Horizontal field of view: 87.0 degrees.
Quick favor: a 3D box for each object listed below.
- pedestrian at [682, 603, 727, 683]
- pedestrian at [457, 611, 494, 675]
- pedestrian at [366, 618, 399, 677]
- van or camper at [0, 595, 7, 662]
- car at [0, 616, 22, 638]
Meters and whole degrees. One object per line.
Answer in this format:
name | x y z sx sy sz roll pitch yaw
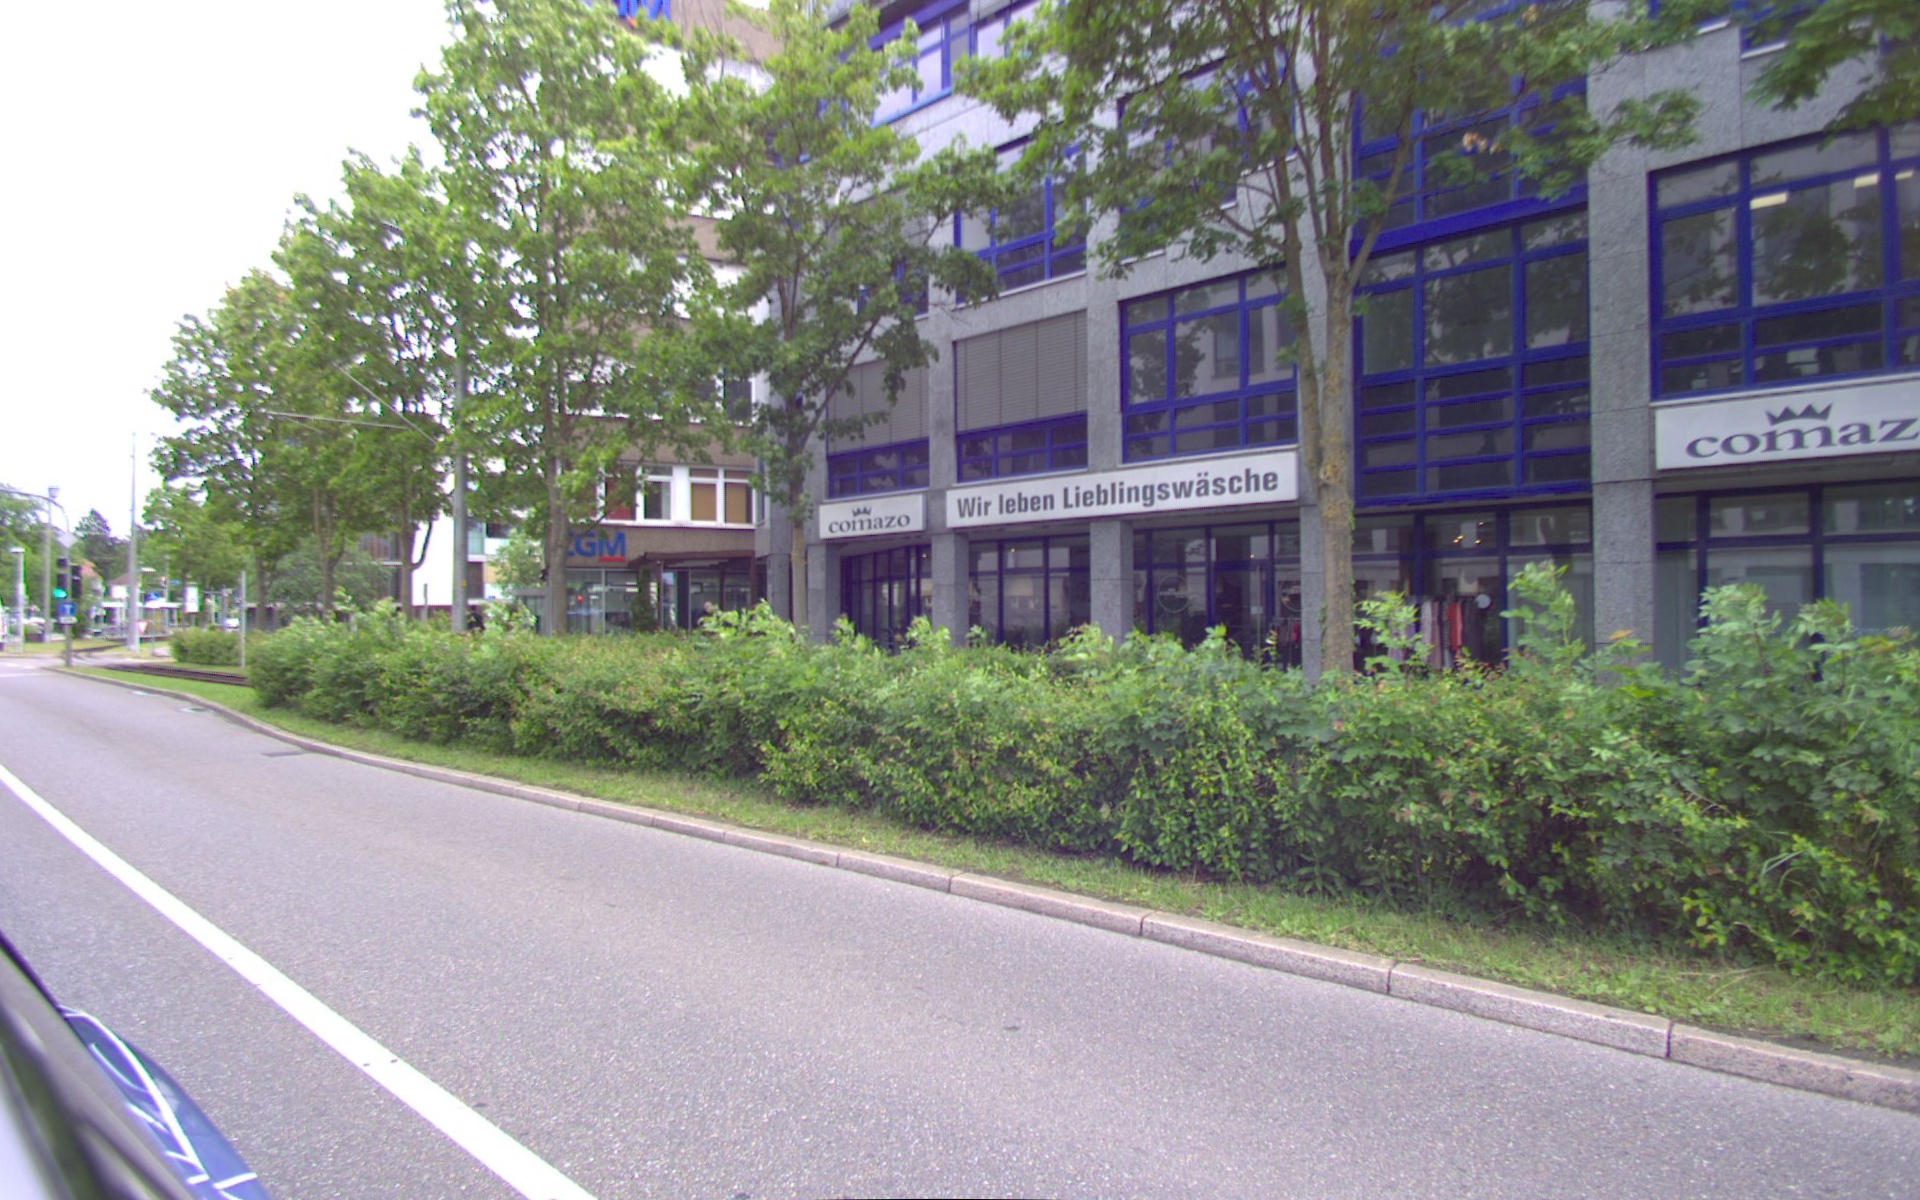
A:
pedestrian | -6.200 1.019 24.537 0.731 1.908 0.766 -1 0 40
pedestrian | -15.010 1.305 31.358 0.731 1.938 0.805 -1 0 40
pedestrian | -18.222 1.485 31.950 0.730 1.819 0.672 -1 0 37
van or camper | -42.547 1.203 41.646 6.097 2.754 2.103 0 0 16
car | -89.707 2.514 94.481 1.965 2.029 4.013 0 0 -25
